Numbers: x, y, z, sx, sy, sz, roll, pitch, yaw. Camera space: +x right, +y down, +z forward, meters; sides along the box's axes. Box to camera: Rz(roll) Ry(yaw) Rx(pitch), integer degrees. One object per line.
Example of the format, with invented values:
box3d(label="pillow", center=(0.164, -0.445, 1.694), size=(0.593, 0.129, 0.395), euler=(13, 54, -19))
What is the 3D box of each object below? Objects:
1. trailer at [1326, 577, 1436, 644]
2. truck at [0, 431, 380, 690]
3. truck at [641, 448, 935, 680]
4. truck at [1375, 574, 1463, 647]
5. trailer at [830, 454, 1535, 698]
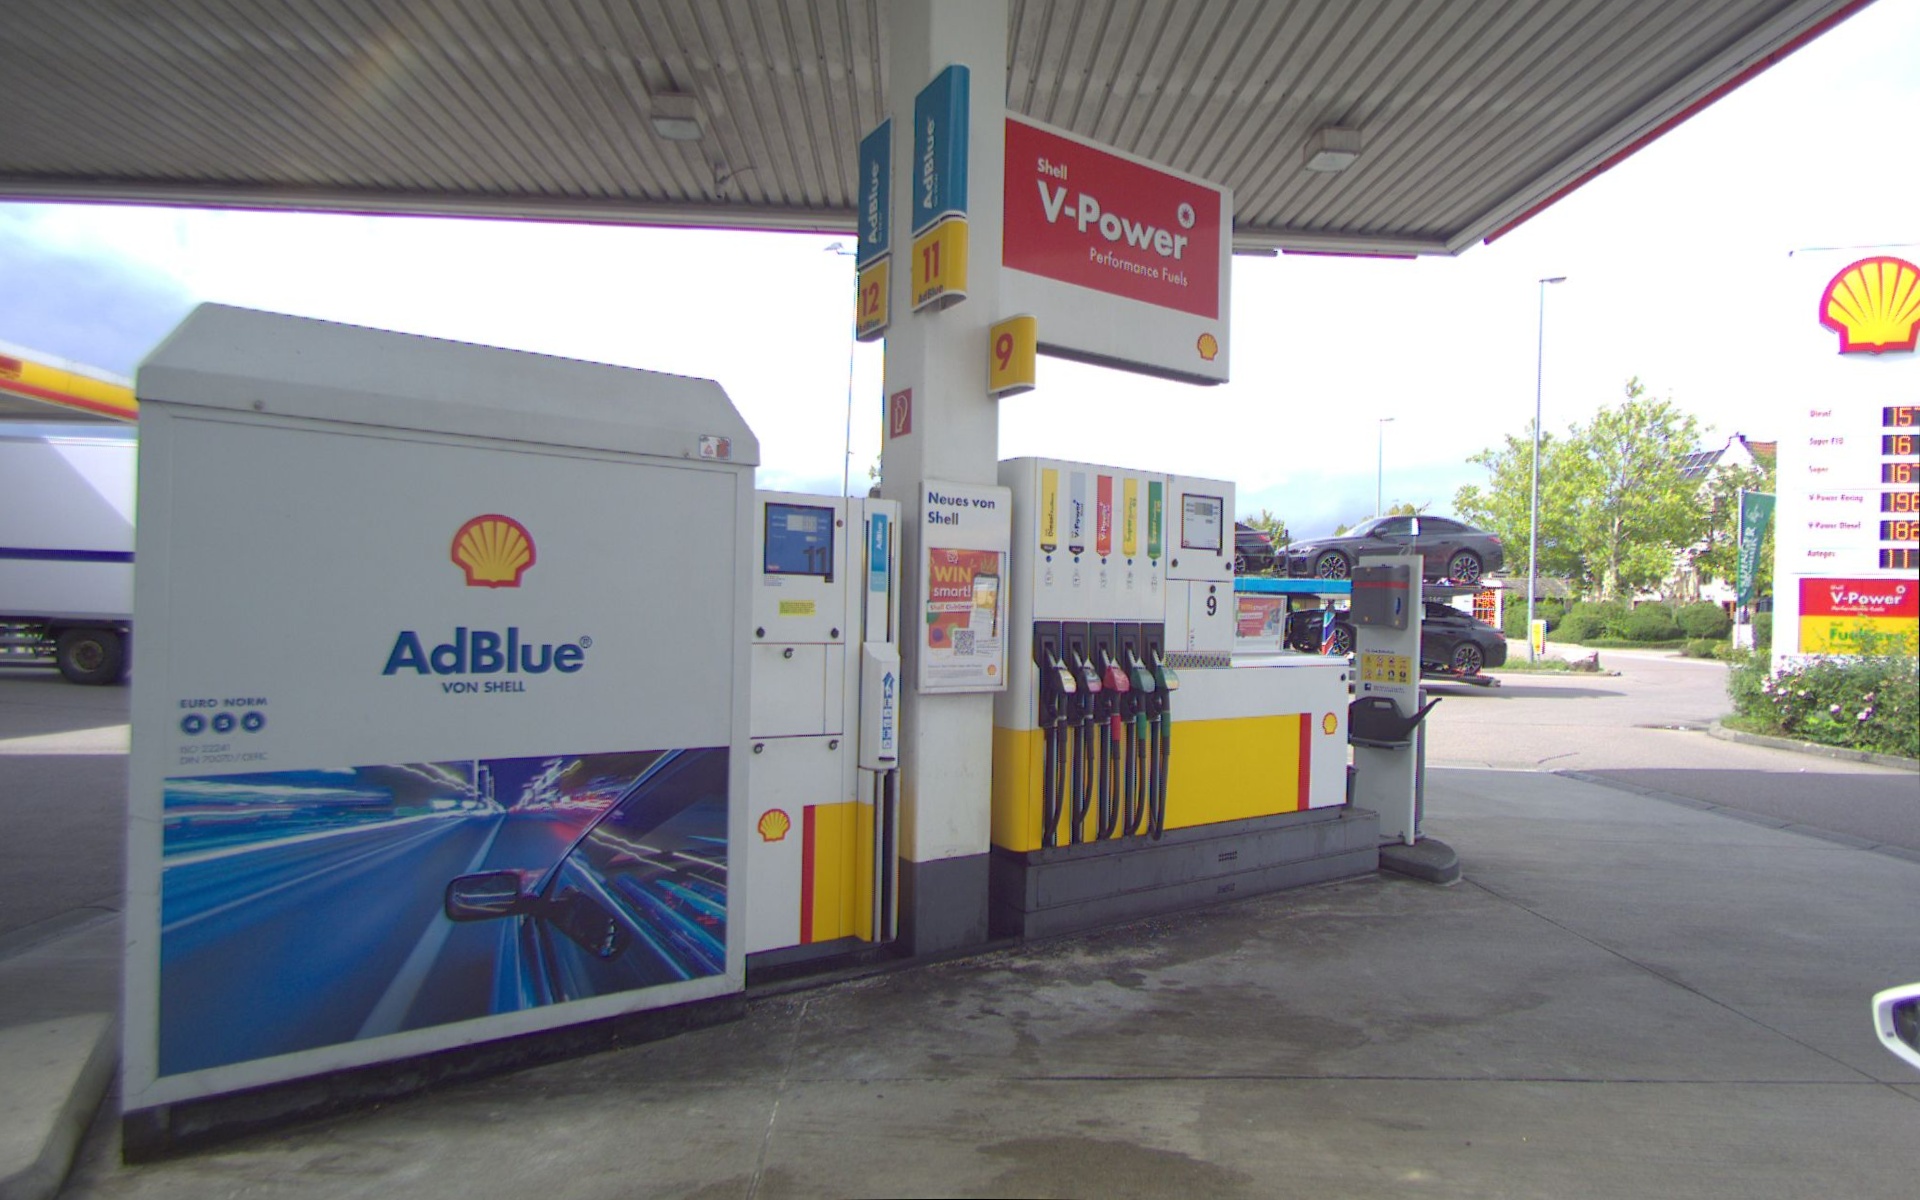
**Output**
box3d(label="trailer", center=(26.915, 0.639, 65.050), size=(2.684, 3.826, 12.718), euler=(2, 0, 5))
box3d(label="truck", center=(-17.330, -0.745, 17.491), size=(12.654, 4.092, 2.534), euler=(2, 0, -3))
box3d(label="truck", center=(-3.480, -0.711, 21.539), size=(5.713, 4.479, 2.750), euler=(2, 0, 0))
box3d(label="truck", center=(26.382, 0.588, 58.047), size=(2.686, 3.897, 5.921), euler=(2, 0, 5))
box3d(label="trailer", center=(4.496, -0.474, 21.579), size=(14.077, 4.481, 2.746), euler=(2, 0, 0))
